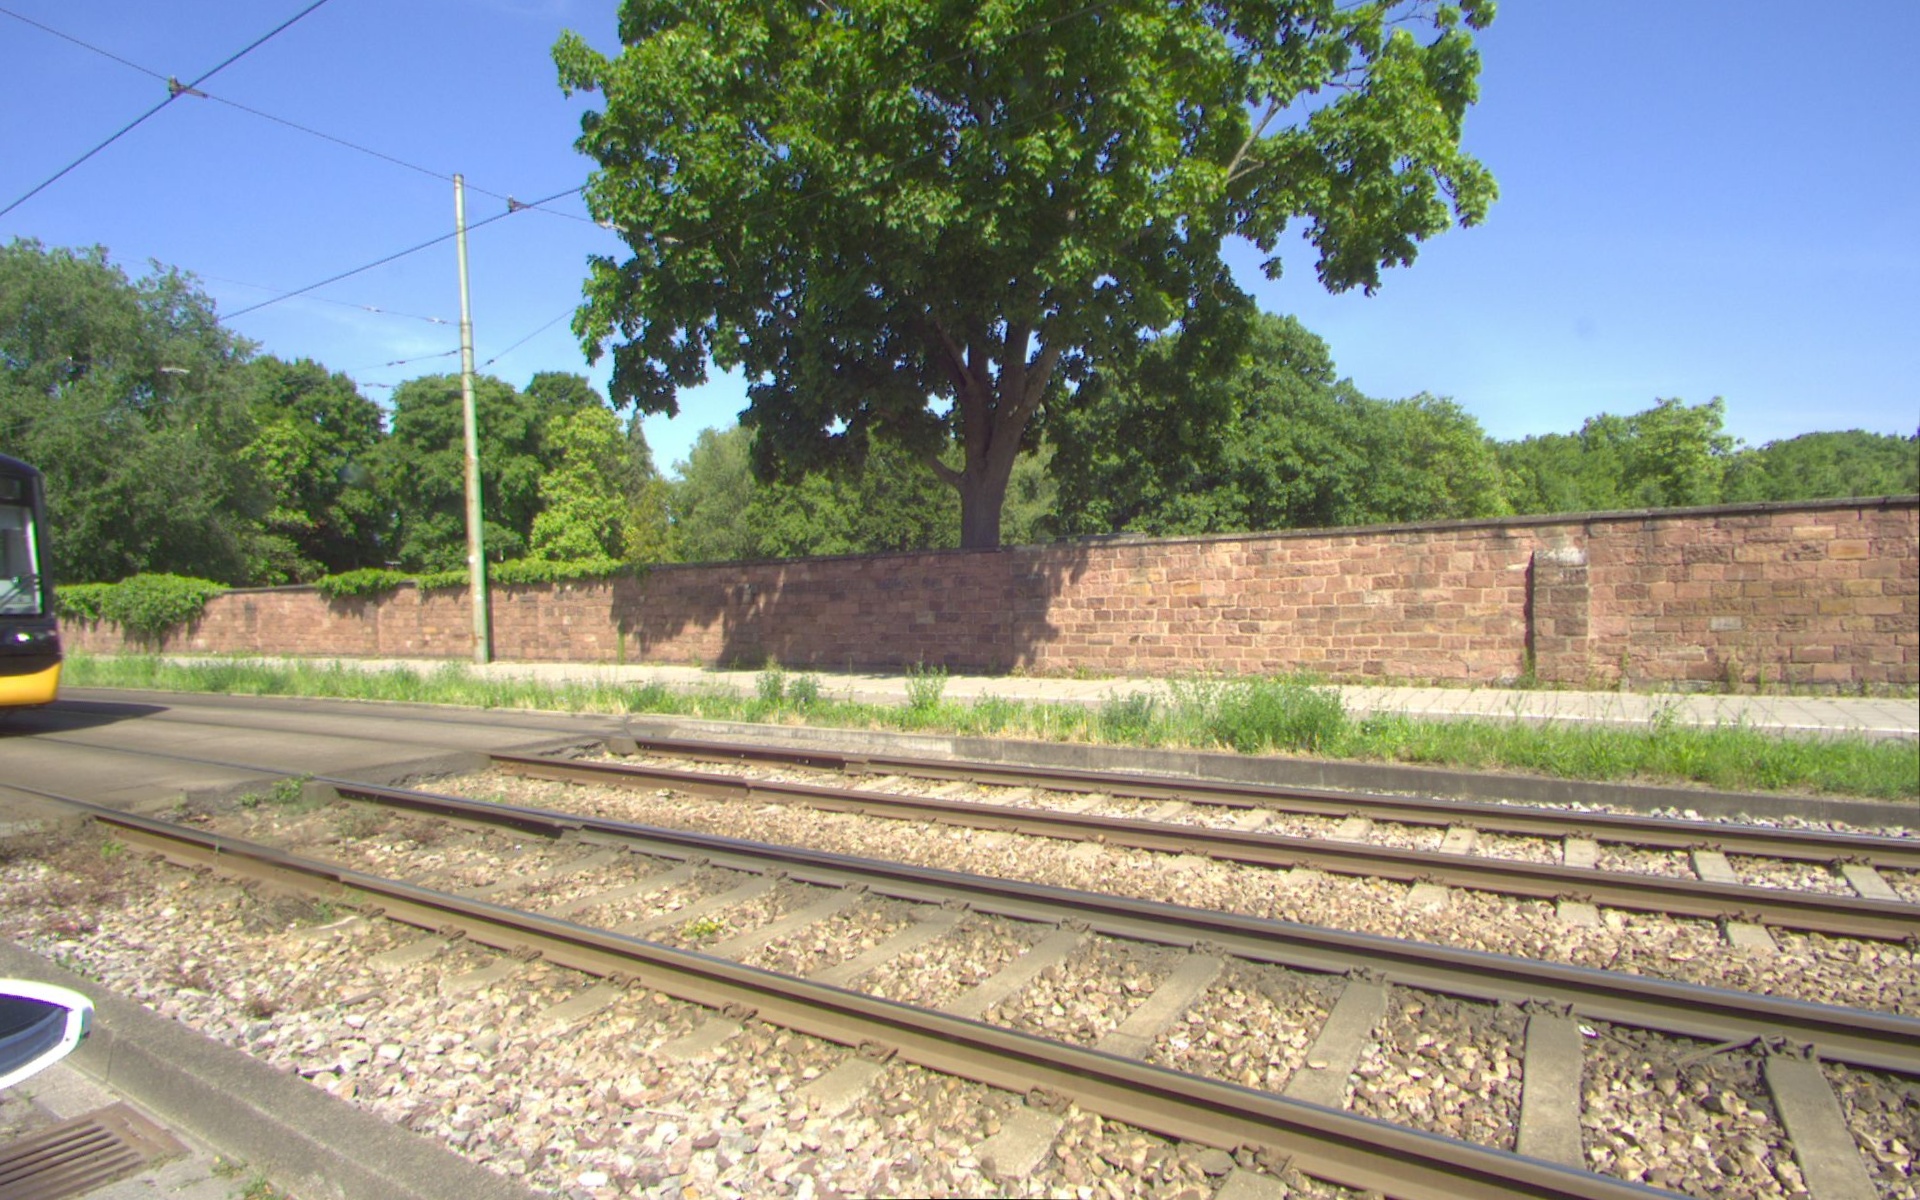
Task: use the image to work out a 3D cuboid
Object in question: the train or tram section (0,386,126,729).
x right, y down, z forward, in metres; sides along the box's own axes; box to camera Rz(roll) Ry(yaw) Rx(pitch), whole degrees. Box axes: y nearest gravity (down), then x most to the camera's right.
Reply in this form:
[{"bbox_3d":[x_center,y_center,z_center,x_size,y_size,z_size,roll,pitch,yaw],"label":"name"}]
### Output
[{"bbox_3d":[-16.429,-0.405,14.053,12.200,3.907,2.867,-1,1,28],"label":"train or tram section"}]
